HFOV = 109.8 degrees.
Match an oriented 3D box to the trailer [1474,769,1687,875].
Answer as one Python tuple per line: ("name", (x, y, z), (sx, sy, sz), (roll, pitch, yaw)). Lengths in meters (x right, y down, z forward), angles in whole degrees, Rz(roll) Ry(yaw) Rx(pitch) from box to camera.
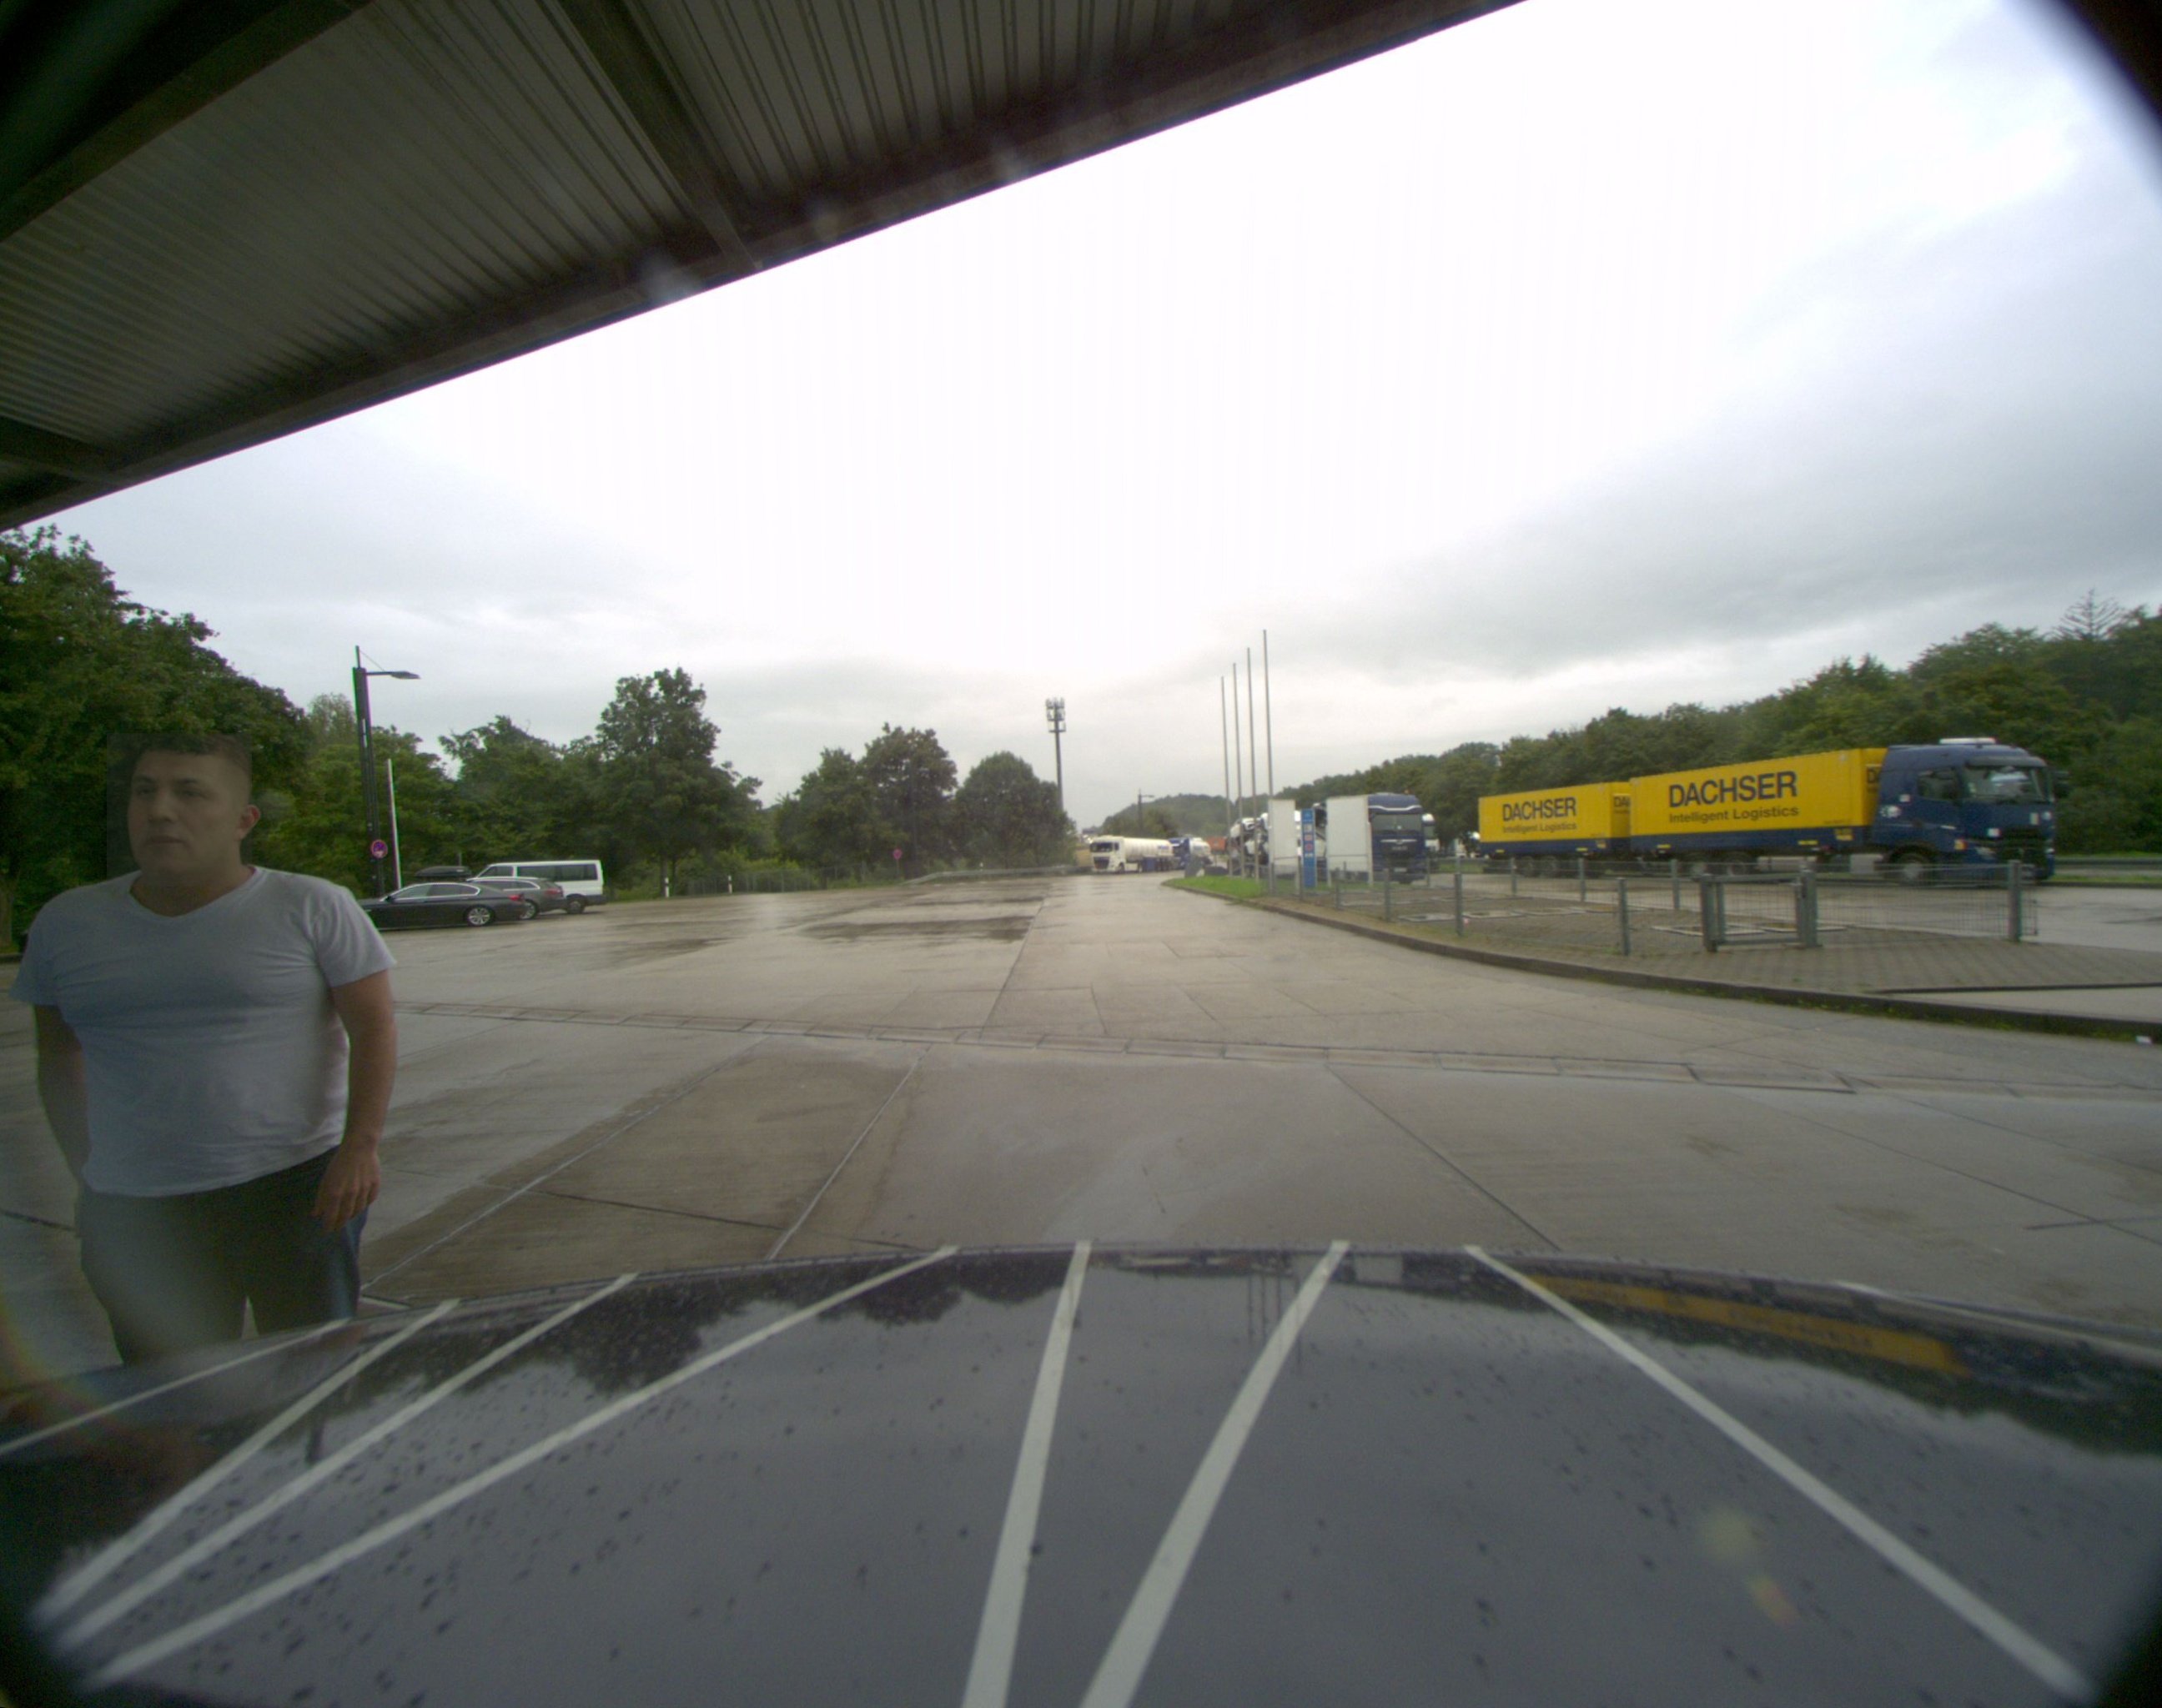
("trailer", (21.775, -1.281, 33.998), (2.774, 4.009, 8.853), (-2, 1, -8))

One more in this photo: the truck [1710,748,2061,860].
("truck", (33.765, -1.855, 32.938), (2.991, 4.009, 10.464), (-2, 1, -10))

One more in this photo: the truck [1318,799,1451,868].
("truck", (19.750, -1.226, 50.438), (2.991, 4.009, 10.464), (-2, 1, -10))

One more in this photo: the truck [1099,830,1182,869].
("truck", (6.190, -0.528, 76.356), (3.243, 3.544, 11.995), (-2, 1, 31))

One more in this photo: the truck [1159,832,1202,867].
("truck", (11.318, -0.531, 85.740), (3.045, 3.745, 6.475), (-2, 1, 23))

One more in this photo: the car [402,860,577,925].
("car", (-21.068, 1.307, 27.347), (4.780, 1.974, 2.010), (-2, 0, -36))

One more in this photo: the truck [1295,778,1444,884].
("truck", (12.295, -0.927, 33.254), (2.990, 4.009, 7.259), (-2, 1, -7))

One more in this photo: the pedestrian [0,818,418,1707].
("pedestrian", (-1.861, 0.843, 1.531), (0.635, 1.800, 0.493), (-4, 3, -34))

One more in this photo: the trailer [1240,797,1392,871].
("trailer", (14.503, -1.171, 49.011), (2.992, 4.009, 13.793), (-2, 1, -12))

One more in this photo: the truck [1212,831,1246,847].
("truck", (33.798, -3.437, 174.584), (3.251, 3.543, 14.655), (-1, 1, -7))

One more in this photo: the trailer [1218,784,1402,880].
("trailer", (11.366, -1.004, 40.945), (2.990, 4.009, 16.597), (-2, 1, -7))

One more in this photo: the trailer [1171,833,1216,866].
("trailer", (13.659, -0.658, 91.448), (2.898, 3.618, 10.586), (-2, 1, 22))

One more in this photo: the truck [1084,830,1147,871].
("truck", (3.307, -0.360, 71.444), (3.243, 3.544, 6.114), (-2, 1, 31))

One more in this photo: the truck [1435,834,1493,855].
("truck", (45.707, -1.102, 90.895), (3.135, 2.290, 6.172), (-2, 0, -7))

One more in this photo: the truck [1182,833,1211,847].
("truck", (30.478, -3.660, 202.294), (3.251, 3.543, 16.548), (-2, 1, -7))

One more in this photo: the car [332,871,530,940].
("car", (-19.130, 1.449, 22.647), (4.187, 1.720, 1.995), (-2, 0, -33))

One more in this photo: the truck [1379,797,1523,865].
("truck", (24.353, -1.410, 50.962), (2.991, 4.009, 10.464), (-2, 1, -10))

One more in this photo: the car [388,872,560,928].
("car", (-19.871, 1.459, 25.154), (4.187, 1.547, 1.995), (-2, 0, -33))

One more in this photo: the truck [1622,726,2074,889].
("truck", (23.053, -1.220, 24.315), (2.774, 4.009, 10.632), (-2, 1, -8))
